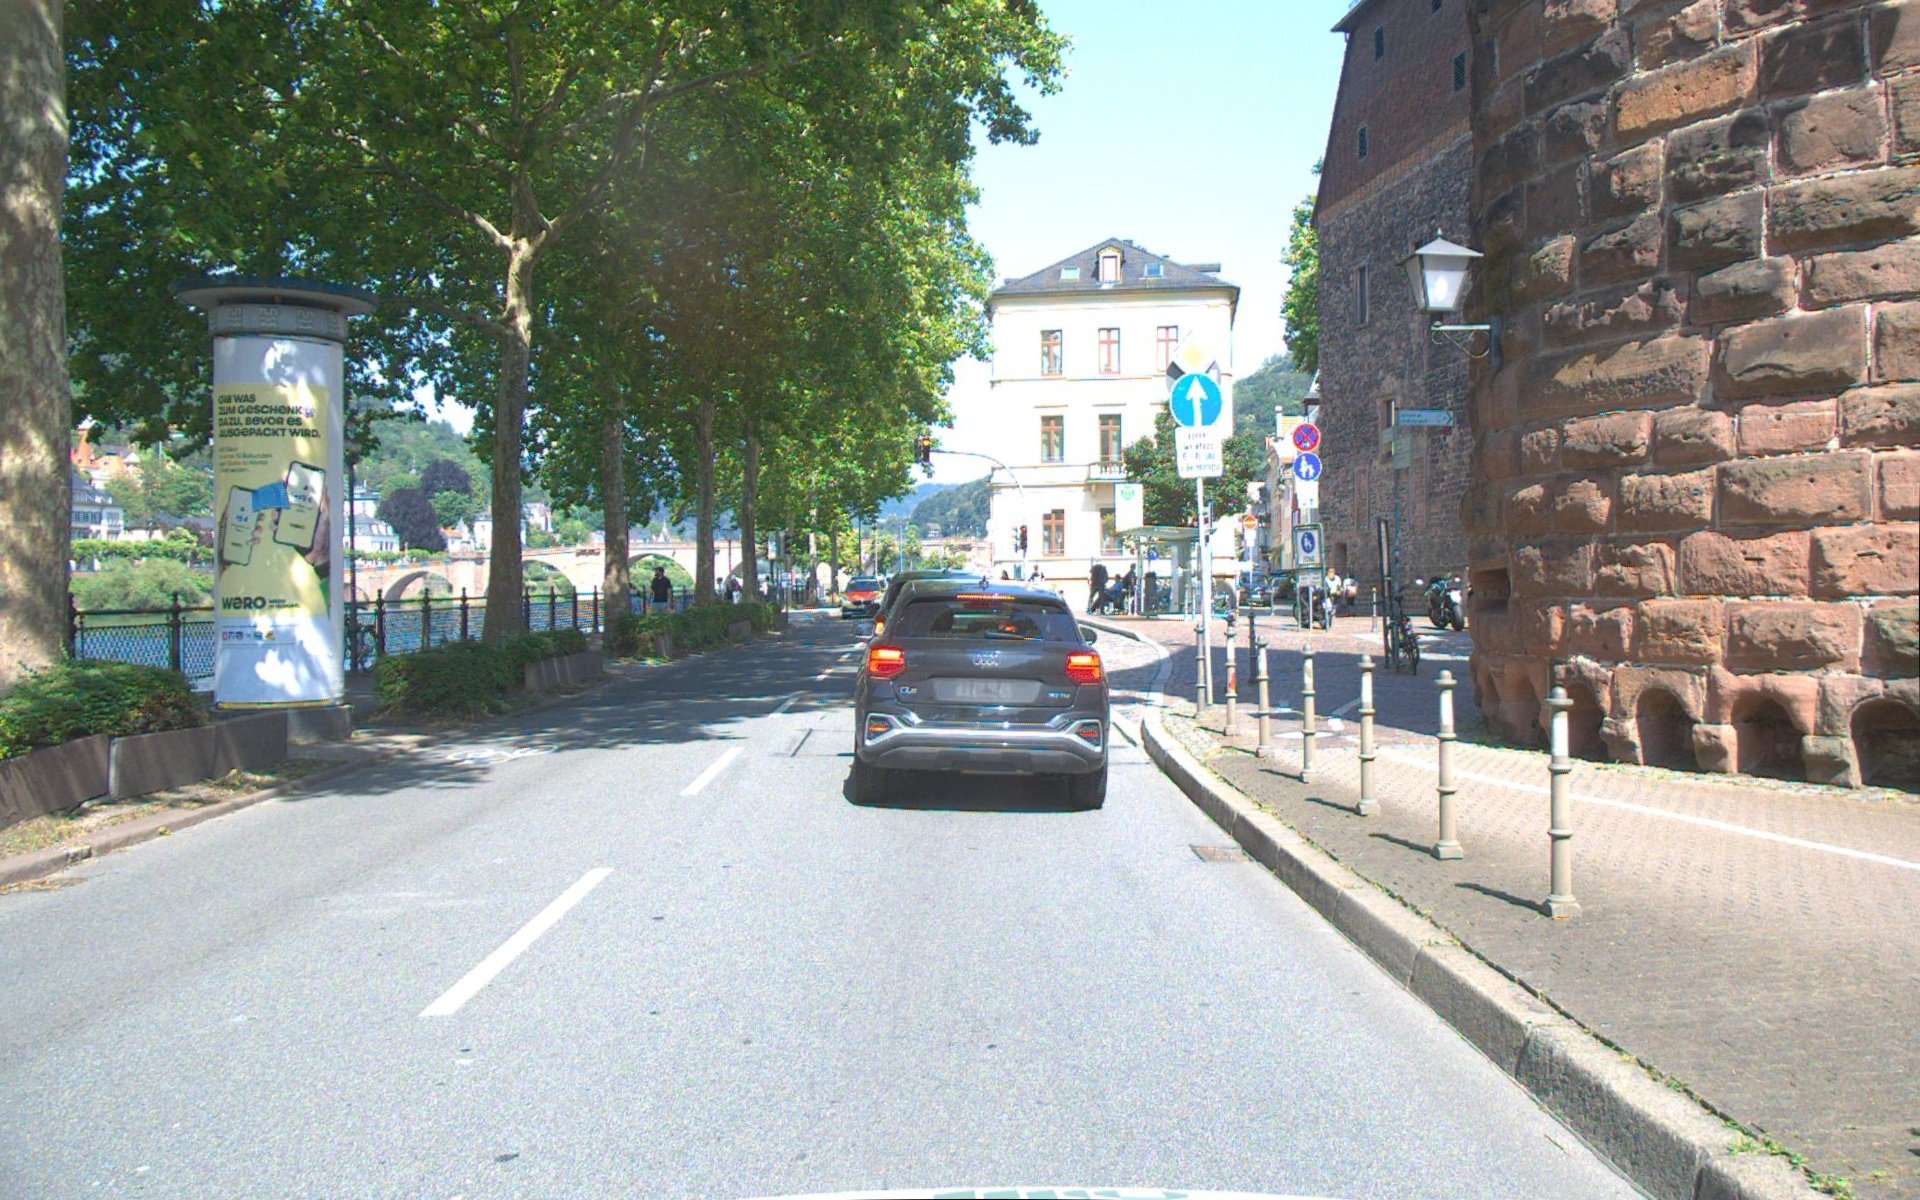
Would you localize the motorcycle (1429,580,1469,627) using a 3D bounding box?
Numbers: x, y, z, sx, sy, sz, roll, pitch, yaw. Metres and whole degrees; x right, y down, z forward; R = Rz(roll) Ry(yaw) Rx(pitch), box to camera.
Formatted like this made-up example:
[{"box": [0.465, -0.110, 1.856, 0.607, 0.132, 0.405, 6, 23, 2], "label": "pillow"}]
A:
[{"box": [10.591, 0.078, 35.840, 0.427, 0.990, 1.359, 1, 0, 0], "label": "motorcycle"}]

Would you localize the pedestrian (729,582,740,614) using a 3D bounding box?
[{"box": [-10.233, -0.099, 75.073, 0.401, 1.450, 0.457, 1, 0, -4], "label": "pedestrian"}]

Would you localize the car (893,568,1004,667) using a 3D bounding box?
[{"box": [-0.193, 0.253, 28.537, 1.764, 1.549, 3.716, -1, 1, 0], "label": "car"}]

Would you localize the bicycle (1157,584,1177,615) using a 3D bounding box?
[{"box": [6.728, -0.023, 53.826, 0.441, 0.991, 1.399, 1, 0, 0], "label": "bicycle"}]

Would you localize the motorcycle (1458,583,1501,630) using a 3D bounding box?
[{"box": [11.279, 0.136, 35.924, 0.449, 0.990, 1.466, 1, 0, 0], "label": "motorcycle"}]

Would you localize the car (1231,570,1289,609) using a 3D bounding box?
[{"box": [14.235, -0.493, 78.631, 1.953, 1.746, 4.000, 1, 0, 0], "label": "car"}]

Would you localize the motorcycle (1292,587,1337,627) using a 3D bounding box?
[{"box": [7.777, 0.140, 36.349, 0.474, 0.832, 2.279, -2, 1, 0], "label": "motorcycle"}]

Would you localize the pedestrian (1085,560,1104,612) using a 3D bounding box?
[{"box": [4.351, -0.459, 53.490, 0.545, 1.661, 0.660, 1, 0, 0], "label": "pedestrian"}]

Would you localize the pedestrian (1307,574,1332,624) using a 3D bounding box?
[{"box": [11.304, -0.032, 52.055, 0.644, 1.519, 0.548, 1, 0, 1], "label": "pedestrian"}]

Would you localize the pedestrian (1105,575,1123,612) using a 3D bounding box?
[{"box": [5.038, -0.213, 54.207, 0.535, 1.222, 0.522, 1, 0, 0], "label": "pedestrian"}]

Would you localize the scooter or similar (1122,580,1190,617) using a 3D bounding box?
[{"box": [5.426, -0.039, 45.852, 1.808, 0.980, 0.429, 2, 0, -2], "label": "scooter or similar"}]

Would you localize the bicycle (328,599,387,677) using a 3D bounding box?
[{"box": [-9.561, 0.584, 26.293, 0.350, 1.182, 1.825, 1, 0, -3], "label": "bicycle"}]

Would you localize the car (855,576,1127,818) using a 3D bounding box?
[{"box": [0.146, 0.597, 12.374, 1.713, 1.520, 3.628, 1, 1, -2], "label": "car"}]

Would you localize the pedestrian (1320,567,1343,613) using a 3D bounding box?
[{"box": [12.458, -0.338, 55.484, 0.644, 1.544, 0.548, 1, 0, 1], "label": "pedestrian"}]

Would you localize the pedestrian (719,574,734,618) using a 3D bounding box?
[{"box": [-8.914, -0.151, 63.057, 0.507, 1.666, 0.438, -2, 0, -8], "label": "pedestrian"}]

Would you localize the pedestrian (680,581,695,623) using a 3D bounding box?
[{"box": [-10.473, 0.073, 63.604, 0.488, 1.564, 0.679, -2, 0, -8], "label": "pedestrian"}]

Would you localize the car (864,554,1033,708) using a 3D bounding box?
[{"box": [-0.132, 0.308, 19.525, 1.764, 1.589, 3.716, -2, 1, 0], "label": "car"}]

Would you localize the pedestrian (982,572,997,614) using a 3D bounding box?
[{"box": [1.110, -0.275, 62.843, 0.545, 1.585, 0.660, 1, 0, 0], "label": "pedestrian"}]

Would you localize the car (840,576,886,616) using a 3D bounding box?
[{"box": [-3.987, -0.187, 68.356, 1.581, 1.549, 3.477, -2, 1, 1], "label": "car"}]

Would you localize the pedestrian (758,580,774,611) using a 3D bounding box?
[{"box": [-8.320, -0.184, 71.035, 0.579, 1.301, 0.525, -2, 0, -1], "label": "pedestrian"}]

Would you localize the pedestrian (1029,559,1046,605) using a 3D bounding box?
[{"box": [2.662, -0.624, 57.052, 0.545, 1.585, 0.660, 1, 0, 0], "label": "pedestrian"}]

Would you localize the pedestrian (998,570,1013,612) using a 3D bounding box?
[{"box": [1.709, -0.334, 62.403, 0.545, 1.585, 0.660, 1, 0, 0], "label": "pedestrian"}]

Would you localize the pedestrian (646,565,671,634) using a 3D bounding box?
[{"box": [-7.854, -0.024, 43.078, 0.552, 1.772, 0.665, 0, 0, -4], "label": "pedestrian"}]

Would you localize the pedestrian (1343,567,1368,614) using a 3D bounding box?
[{"box": [13.226, -0.317, 55.352, 0.644, 1.544, 0.627, 1, 0, 1], "label": "pedestrian"}]

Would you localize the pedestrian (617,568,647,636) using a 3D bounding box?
[{"box": [-8.521, 0.044, 43.013, 0.632, 1.747, 0.665, -2, 0, -4], "label": "pedestrian"}]

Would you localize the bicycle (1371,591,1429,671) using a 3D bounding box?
[{"box": [6.095, 0.410, 22.968, 0.485, 1.048, 2.052, -1, 0, 7], "label": "bicycle"}]

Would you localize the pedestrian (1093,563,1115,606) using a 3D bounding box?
[{"box": [5.286, -0.566, 60.568, 0.731, 1.585, 0.588, 1, 0, 0], "label": "pedestrian"}]
